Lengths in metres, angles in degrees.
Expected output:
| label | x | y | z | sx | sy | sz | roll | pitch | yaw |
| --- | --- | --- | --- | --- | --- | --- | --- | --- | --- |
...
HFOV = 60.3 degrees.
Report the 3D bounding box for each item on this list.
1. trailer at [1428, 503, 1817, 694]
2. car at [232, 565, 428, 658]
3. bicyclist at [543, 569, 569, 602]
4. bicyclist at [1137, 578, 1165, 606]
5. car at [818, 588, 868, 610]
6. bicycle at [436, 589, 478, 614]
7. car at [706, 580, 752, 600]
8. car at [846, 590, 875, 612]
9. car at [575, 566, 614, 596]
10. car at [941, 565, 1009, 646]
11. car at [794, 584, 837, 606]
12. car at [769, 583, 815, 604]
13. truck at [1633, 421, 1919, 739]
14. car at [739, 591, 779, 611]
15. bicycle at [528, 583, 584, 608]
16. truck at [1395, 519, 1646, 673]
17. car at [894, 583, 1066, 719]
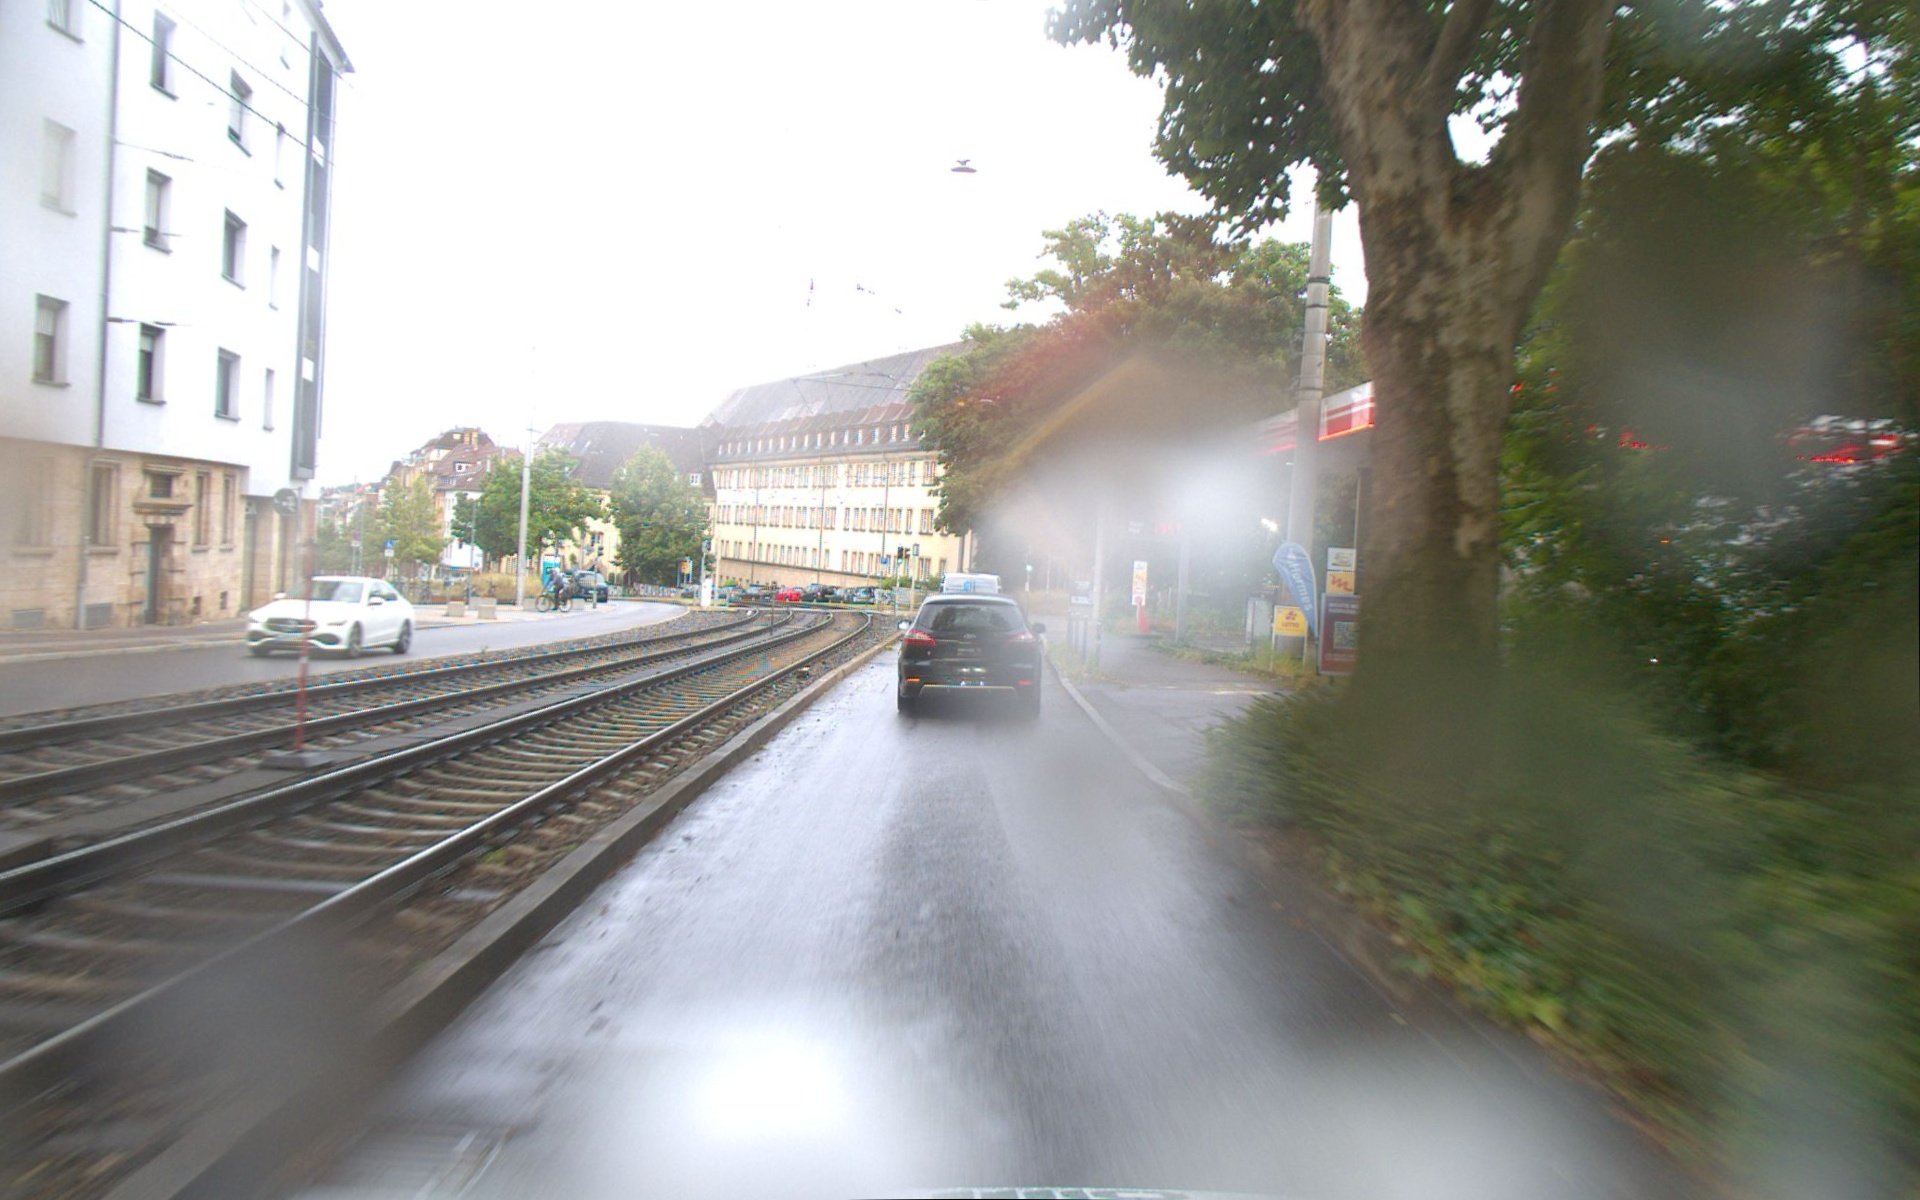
| label | x | y | z | sx | sy | sz | roll | pitch | yaw |
| --- | --- | --- | --- | --- | --- | --- | --- | --- | --- |
| trailer | 14.379 | -0.078 | 37.601 | 3.819 | 3.567 | 11.783 | 1 | 0 | -1 |
| car | -11.598 | 0.208 | 30.836 | 1.763 | 1.508 | 4.839 | 3 | 0 | -1 |
| bicyclist | -16.601 | -0.614 | 67.976 | 0.766 | 1.336 | 0.780 | 1 | 0 | -39 |
| bicyclist | 8.427 | -0.344 | 73.034 | 0.727 | 1.200 | 1.067 | 1 | 0 | -28 |
| car | -8.899 | -0.083 | 125.643 | 1.978 | 1.569 | 3.950 | 3 | 0 | -36 |
| bicycle | -23.768 | 0.071 | 78.186 | 1.777 | 1.079 | 0.570 | 3 | -1 | -4 |
| car | -19.976 | -0.842 | 142.899 | 1.983 | 1.569 | 3.938 | 3 | -1 | -42 |
| car | -7.360 | 0.072 | 122.000 | 1.627 | 1.502 | 3.635 | 3 | 0 | -10 |
| car | -20.436 | -1.036 | 92.658 | 1.958 | 1.569 | 3.989 | 3 | 0 | -11 |
| car | 0.419 | 0.153 | 45.390 | 1.705 | 2.049 | 3.904 | 3 | 0 | 1 |
| car | -11.404 | -0.388 | 130.566 | 1.568 | 1.569 | 3.950 | 3 | 0 | -36 |
| car | -13.704 | -0.514 | 134.855 | 1.979 | 1.569 | 3.947 | 3 | -1 | -37 |
| truck | 13.503 | -0.210 | 23.931 | 3.846 | 3.741 | 10.379 | 1 | 0 | 4 |
| car | -16.960 | 0.093 | 139.383 | 1.971 | 1.569 | 3.963 | 1 | 0 | -29 |
| bicycle | -16.621 | -0.180 | 68.018 | 2.085 | 0.959 | 0.804 | 1 | 0 | -40 |
| truck | 14.236 | -0.107 | 42.764 | 3.825 | 3.578 | 6.976 | 1 | 0 | -3 |
| car | 0.155 | 0.609 | 21.625 | 1.895 | 1.478 | 4.315 | 4 | 0 | -3 |
